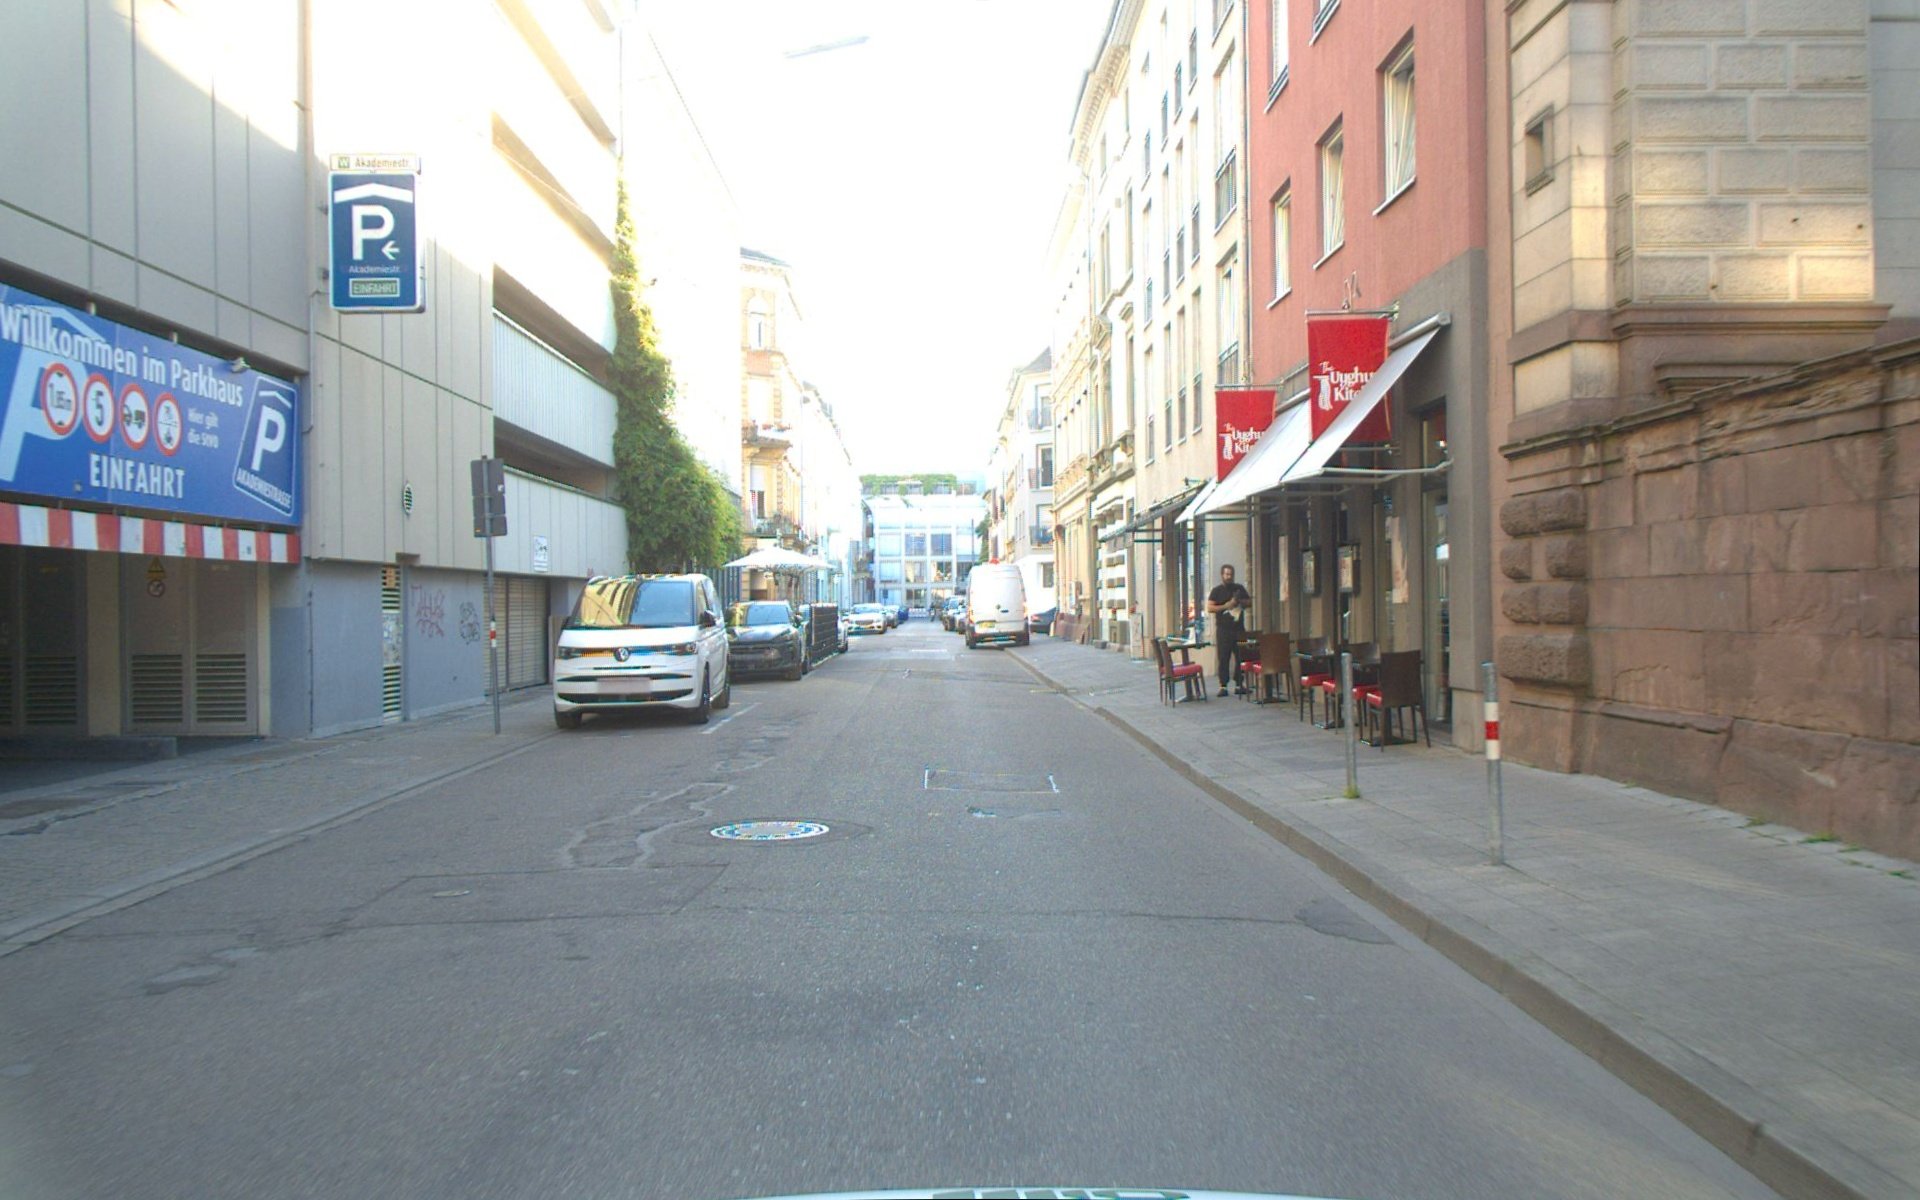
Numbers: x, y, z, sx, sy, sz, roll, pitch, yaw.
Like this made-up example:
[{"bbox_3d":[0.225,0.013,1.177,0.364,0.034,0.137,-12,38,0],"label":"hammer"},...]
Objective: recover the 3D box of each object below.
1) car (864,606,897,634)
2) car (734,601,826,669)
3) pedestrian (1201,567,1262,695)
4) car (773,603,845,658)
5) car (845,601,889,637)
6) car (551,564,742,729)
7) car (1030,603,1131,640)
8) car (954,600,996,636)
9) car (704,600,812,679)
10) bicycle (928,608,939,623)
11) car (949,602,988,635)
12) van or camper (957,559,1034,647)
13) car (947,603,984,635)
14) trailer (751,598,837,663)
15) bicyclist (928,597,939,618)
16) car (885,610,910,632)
[{"bbox_3d":[-4.989,1.279,104.054,1.953,1.713,3.999,0,-1,-1],"label":"car"},{"bbox_3d":[-4.127,0.776,38.403,1.846,1.478,3.998,-1,0,-3],"label":"car"},{"bbox_3d":[3.695,0.413,22.557,0.648,1.695,0.624,-3,0,-1],"label":"pedestrian"},{"bbox_3d":[-4.234,0.839,46.873,1.846,1.478,3.998,-1,0,-3],"label":"car"},{"bbox_3d":[-4.561,0.946,81.483,1.953,1.713,3.999,0,-1,-1],"label":"car"},{"bbox_3d":[-4.063,0.563,22.159,1.846,1.945,4.745,-1,0,-3],"label":"car"},{"bbox_3d":[4.811,0.870,66.383,3.906,1.445,1.656,-1,-1,-1],"label":"car"},{"bbox_3d":[0.701,0.878,80.205,1.953,1.713,3.999,0,-1,-1],"label":"car"},{"bbox_3d":[-4.028,0.757,33.519,1.846,1.478,3.998,-1,0,-3],"label":"car"},{"bbox_3d":[-2.449,1.410,151.264,0.955,1.303,2.753,0,-1,-1],"label":"bicycle"},{"bbox_3d":[0.413,0.983,87.251,1.953,1.713,3.999,0,-1,-1],"label":"car"},{"bbox_3d":[1.135,0.125,55.652,2.213,2.652,5.110,-5,-1,-1],"label":"van or camper"},{"bbox_3d":[0.273,1.054,92.038,1.953,1.713,3.999,0,-1,-1],"label":"car"},{"bbox_3d":[-4.231,0.779,42.576,1.953,1.584,3.998,0,-1,-2],"label":"trailer"},{"bbox_3d":[-2.458,0.694,151.197,0.970,1.901,0.708,0,-1,-1],"label":"bicyclist"},{"bbox_3d":[-5.080,1.719,134.243,1.953,1.713,3.999,0,-1,-1],"label":"car"}]
